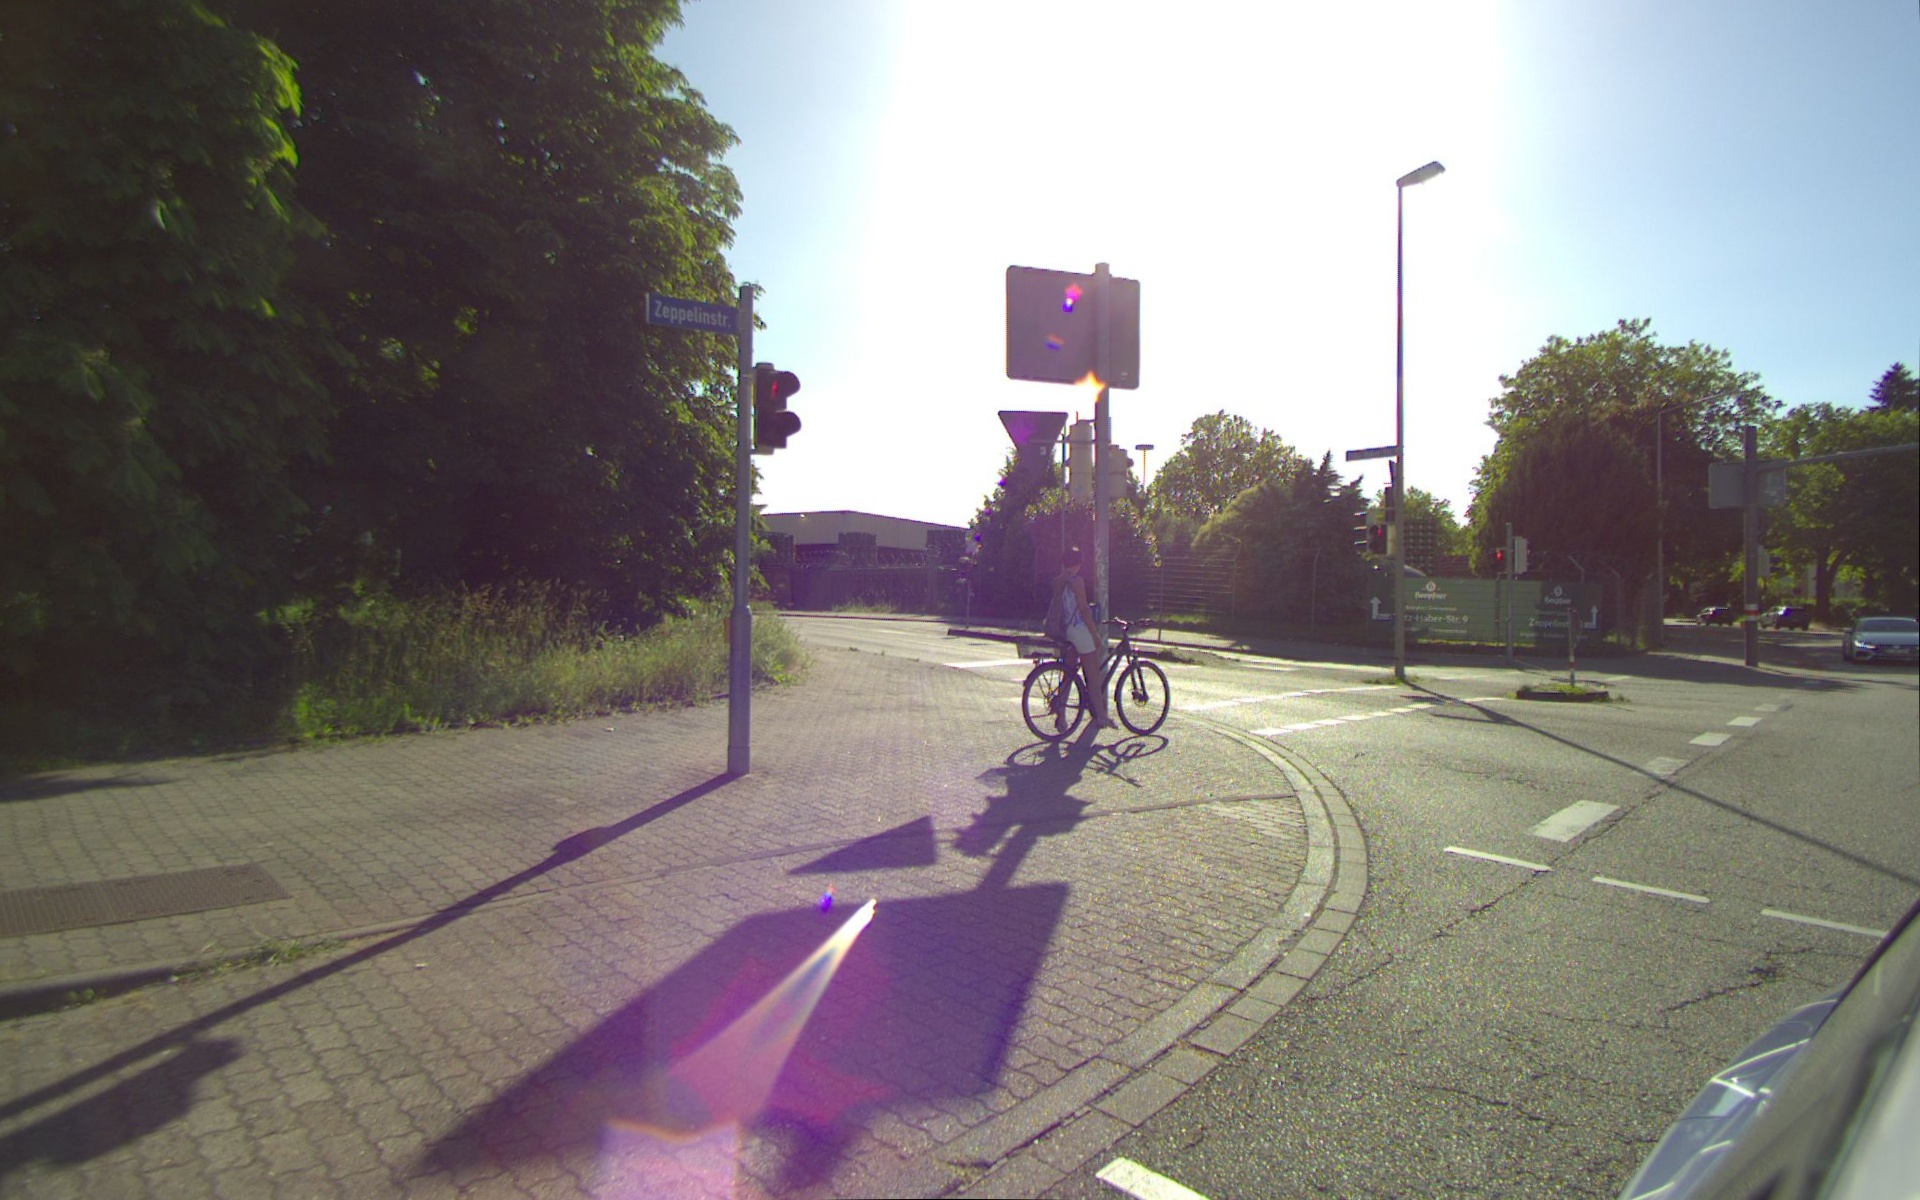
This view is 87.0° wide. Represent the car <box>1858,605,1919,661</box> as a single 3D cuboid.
[{"bbox_3d":[27.981,0.929,30.019,1.802,1.551,4.451,0,0,39],"label":"car"}]

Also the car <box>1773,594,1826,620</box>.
[{"bbox_3d":[57.409,0.474,69.256,1.845,1.655,4.216,1,0,27],"label":"car"}]

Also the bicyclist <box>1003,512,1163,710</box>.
[{"bbox_3d":[1.138,0.107,9.438,1.165,1.714,0.893,1,-1,-26],"label":"bicyclist"}]

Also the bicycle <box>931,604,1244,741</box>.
[{"bbox_3d":[1.231,0.630,9.480,2.892,1.140,0.904,1,-1,-26],"label":"bicycle"}]
